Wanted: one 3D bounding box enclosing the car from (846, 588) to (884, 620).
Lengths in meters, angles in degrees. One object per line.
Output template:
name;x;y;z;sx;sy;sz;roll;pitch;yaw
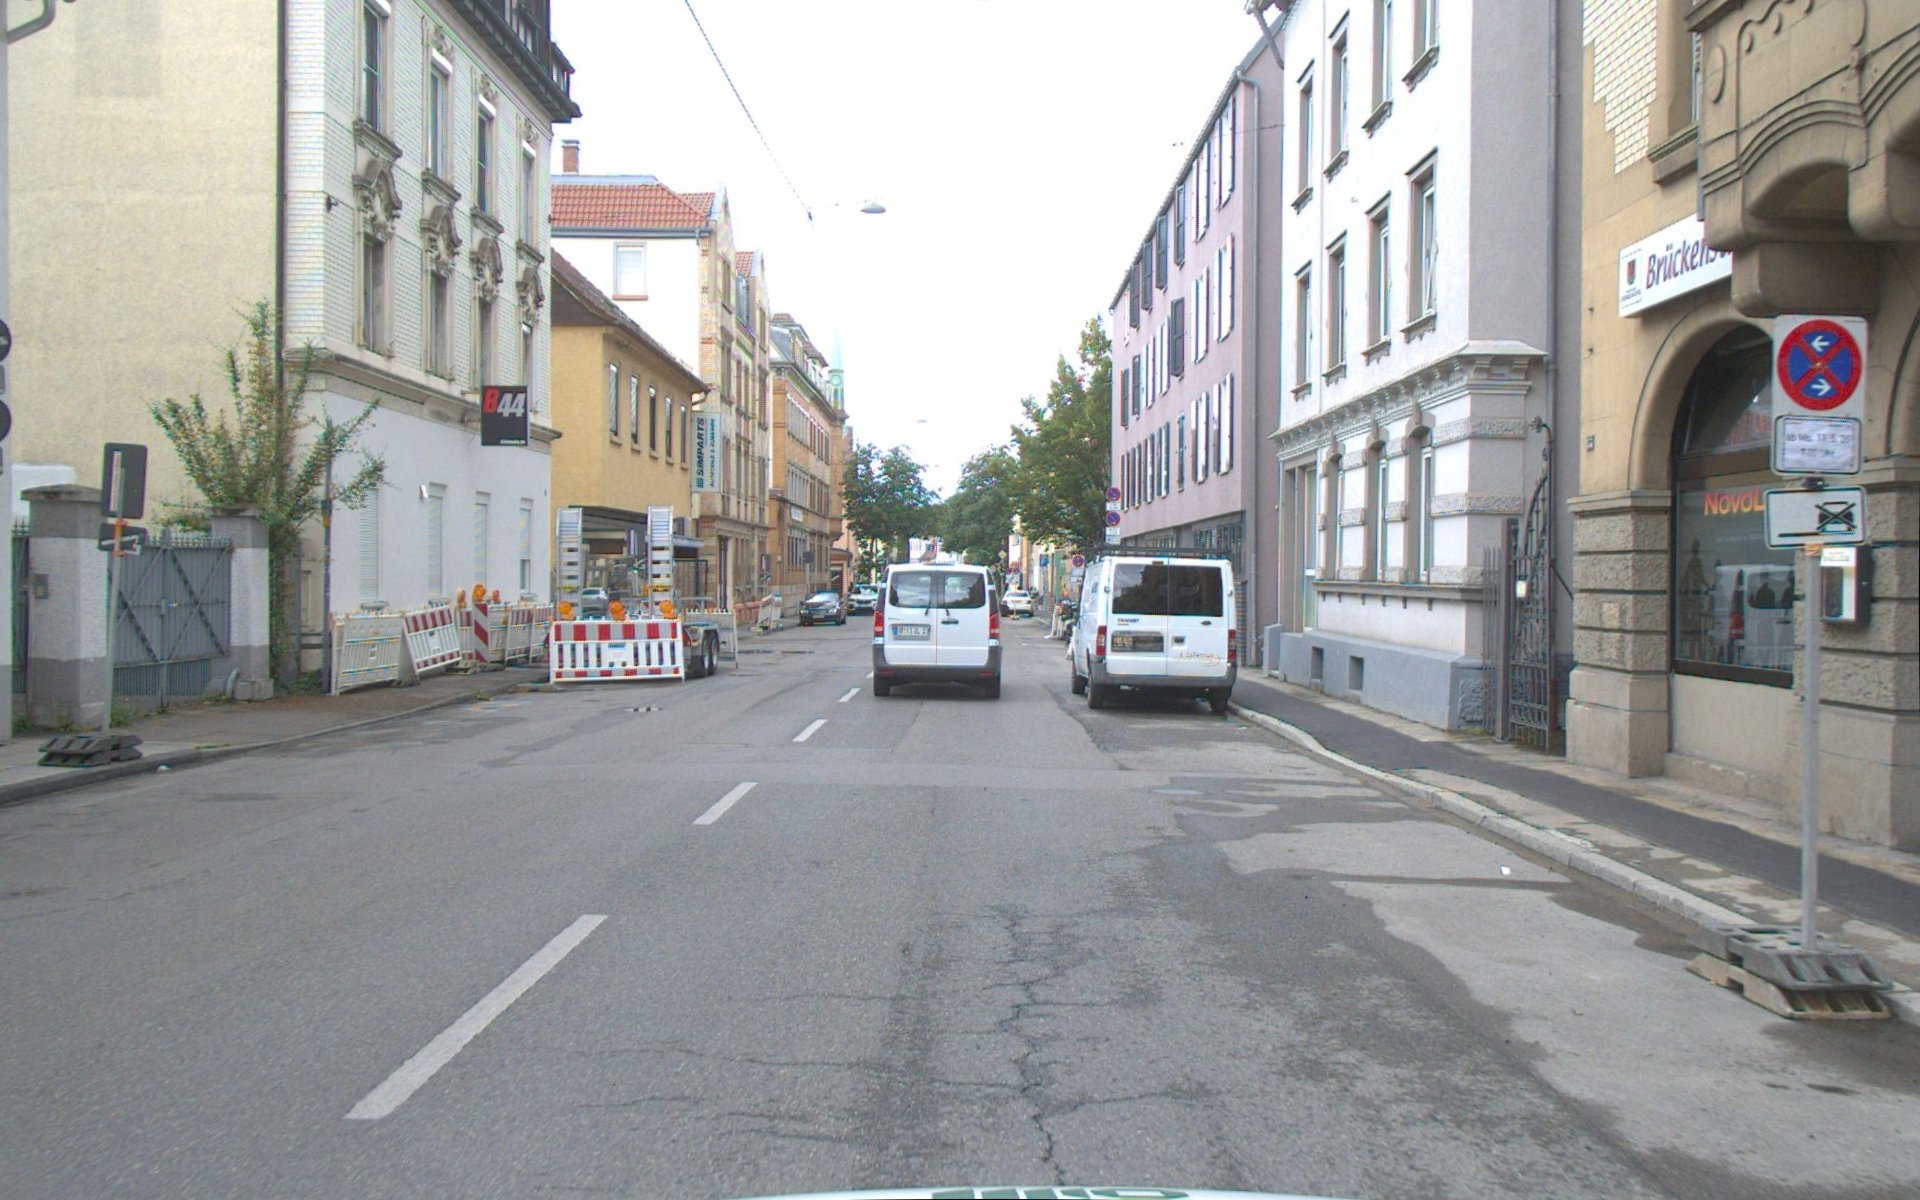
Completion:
car;-5.407;0.218;94.711;1.953;1.771;4.000;1;0;-1

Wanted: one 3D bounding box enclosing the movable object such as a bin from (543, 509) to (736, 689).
movable object such as a bin;-5.544;-0.030;29.305;2.485;2.874;4.538;-1;0;-1

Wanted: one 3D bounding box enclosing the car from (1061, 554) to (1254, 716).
car;2.715;0.439;23.944;2.085;2.040;4.925;2;0;-1

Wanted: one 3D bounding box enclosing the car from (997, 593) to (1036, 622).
car;3.199;0.417;94.596;1.953;1.511;4.000;4;0;-1

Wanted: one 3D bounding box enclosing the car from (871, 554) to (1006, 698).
car;-0.282;0.359;25.126;1.853;1.962;4.645;0;0;0

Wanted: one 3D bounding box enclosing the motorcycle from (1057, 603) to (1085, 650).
motorcycle;3.133;0.729;46.501;0.630;1.268;2.270;0;0;7

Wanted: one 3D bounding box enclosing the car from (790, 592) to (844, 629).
car;-6.003;0.405;69.846;1.953;1.467;4.000;-1;0;0

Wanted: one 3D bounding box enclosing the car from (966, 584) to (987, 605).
car;1.656;-0.509;165.946;1.952;2.049;4.001;0;-1;2
